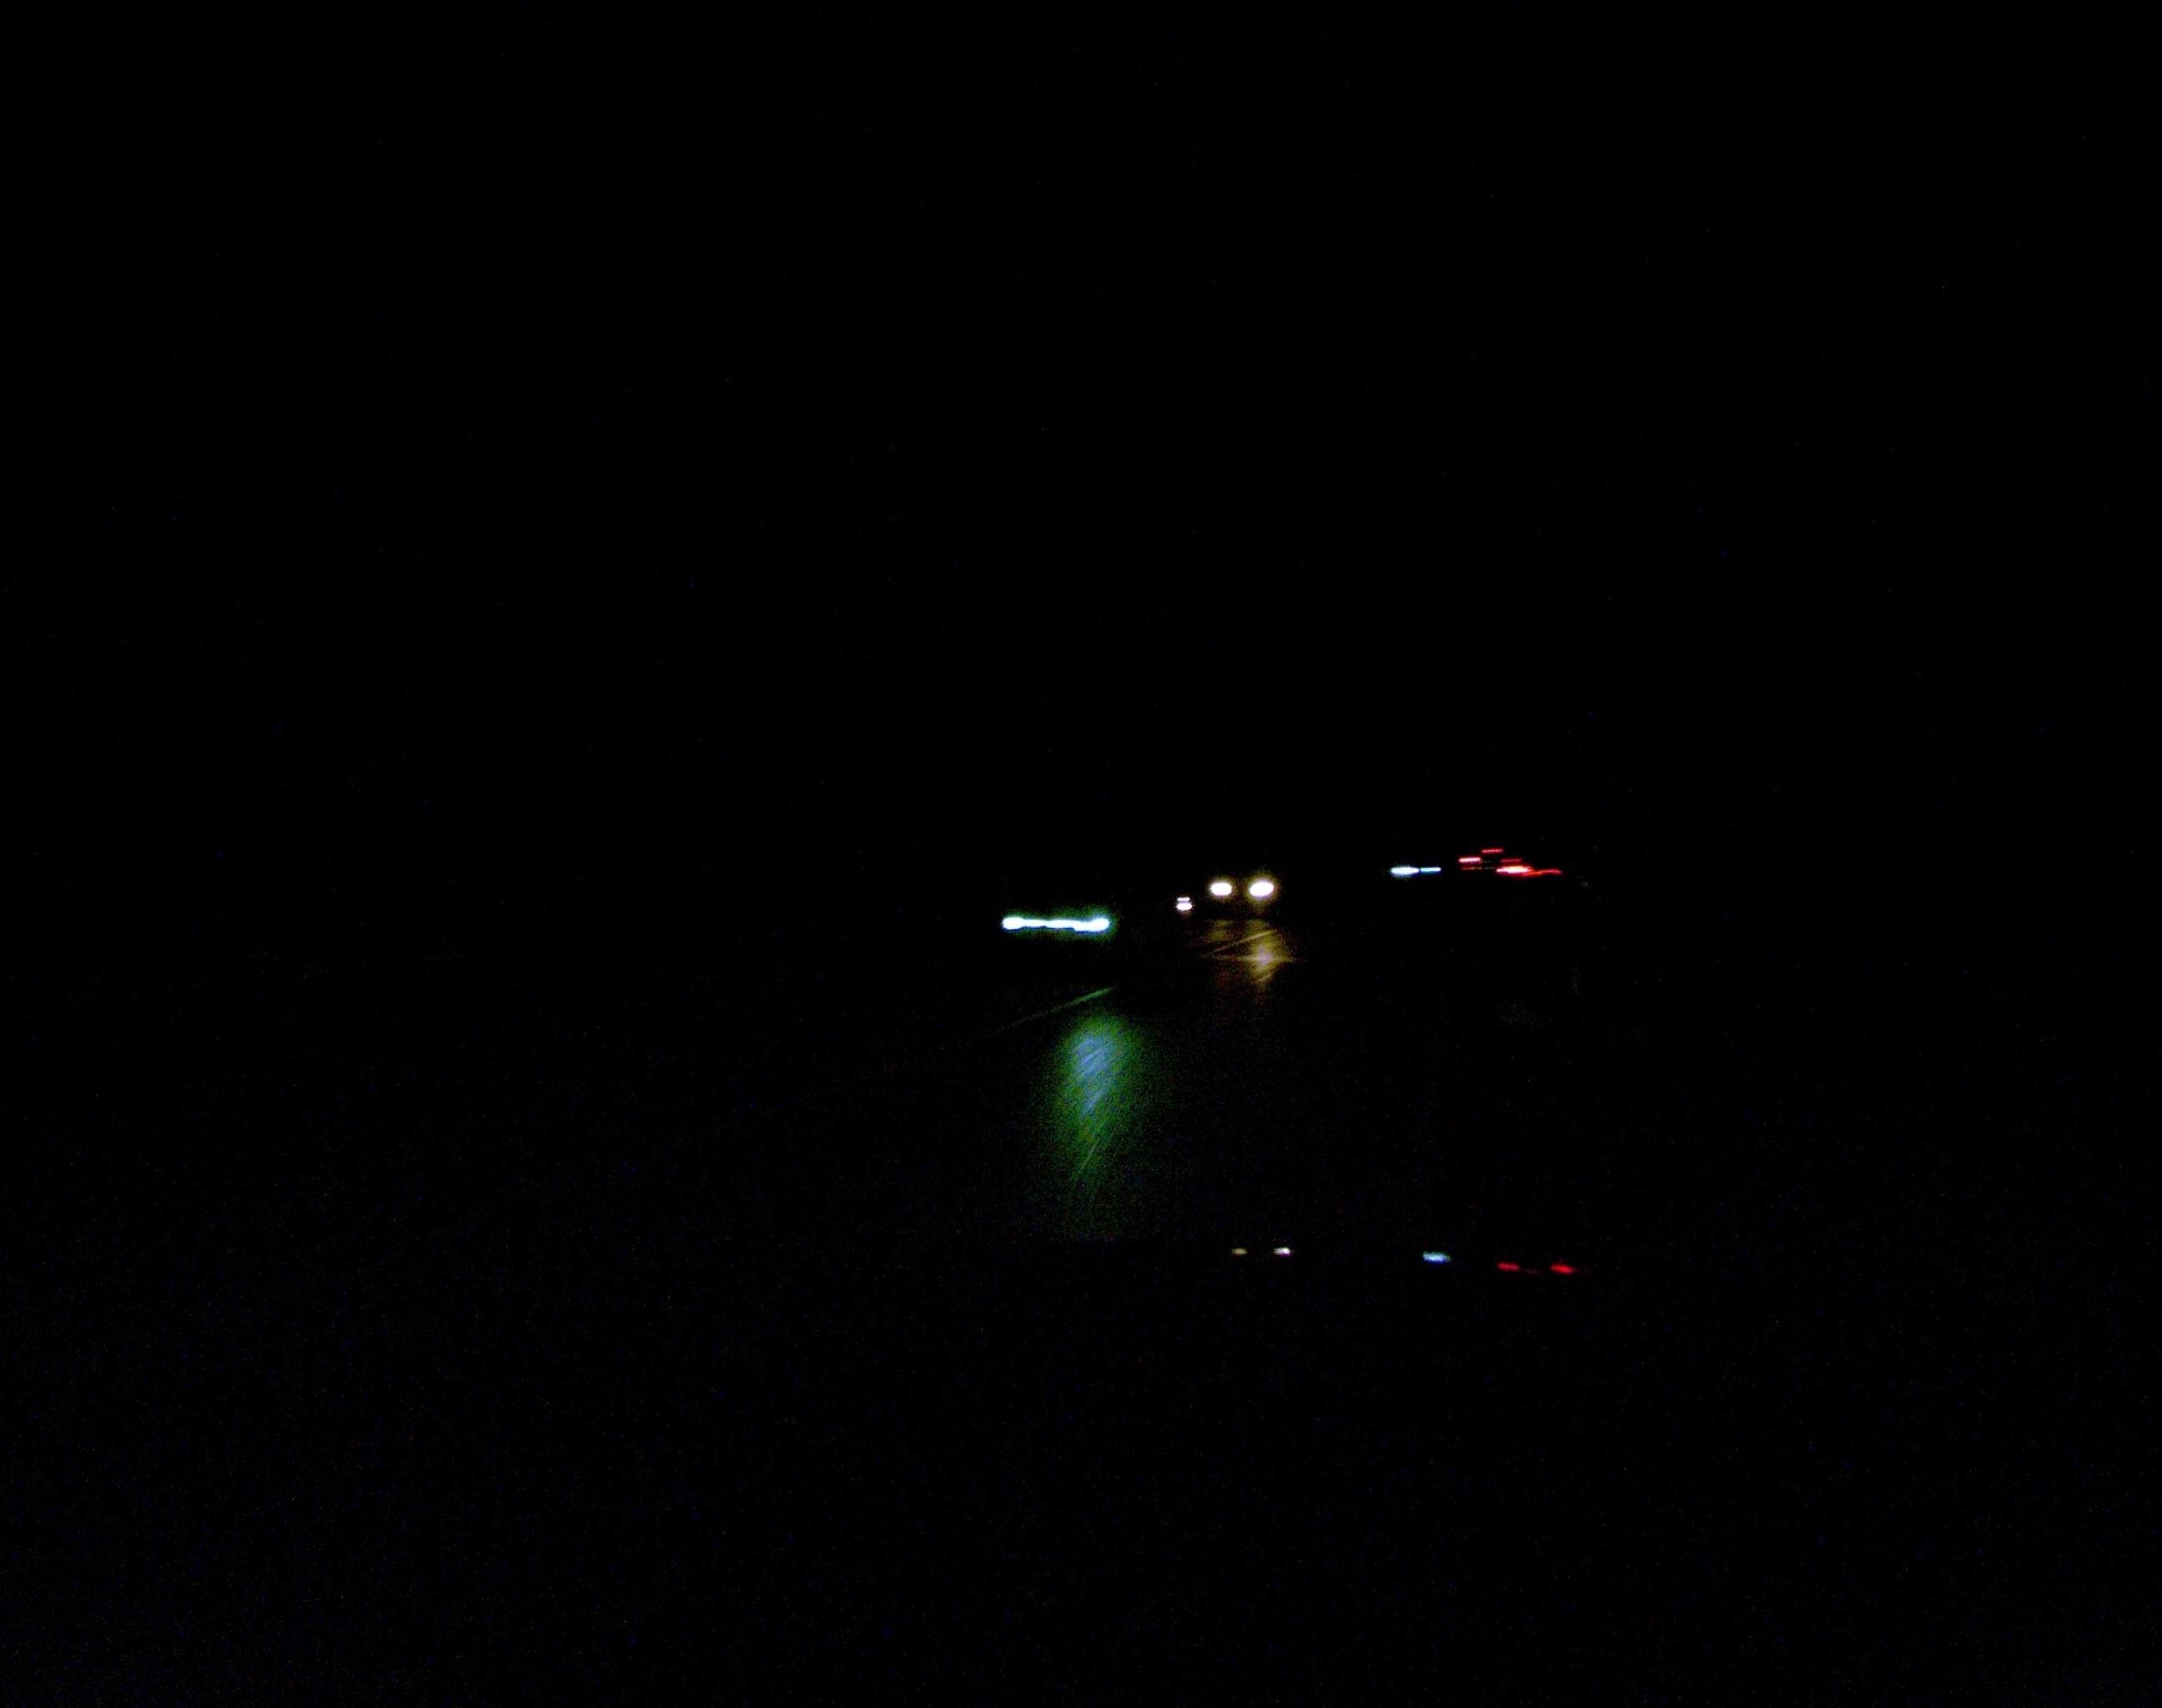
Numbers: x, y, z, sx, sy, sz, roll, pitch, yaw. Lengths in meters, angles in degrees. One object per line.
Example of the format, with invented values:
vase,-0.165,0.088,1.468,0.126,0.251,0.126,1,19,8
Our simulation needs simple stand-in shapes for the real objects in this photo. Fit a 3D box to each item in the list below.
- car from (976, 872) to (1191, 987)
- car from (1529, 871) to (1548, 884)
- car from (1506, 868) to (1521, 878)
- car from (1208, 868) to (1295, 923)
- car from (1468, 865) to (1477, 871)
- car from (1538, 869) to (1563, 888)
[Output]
car,0.249,1.050,12.260,1.759,1.450,4.200,-1,-1,27
car,59.584,3.008,99.007,1.954,1.478,4.708,2,1,29
car,74.919,3.232,131.683,2.123,1.621,4.707,1,0,27
car,5.042,1.134,22.156,1.654,1.442,3.496,-1,-1,27
car,95.679,3.445,185.675,1.927,1.510,4.008,1,0,26
car,41.779,2.158,67.655,1.546,1.511,3.522,3,1,27
